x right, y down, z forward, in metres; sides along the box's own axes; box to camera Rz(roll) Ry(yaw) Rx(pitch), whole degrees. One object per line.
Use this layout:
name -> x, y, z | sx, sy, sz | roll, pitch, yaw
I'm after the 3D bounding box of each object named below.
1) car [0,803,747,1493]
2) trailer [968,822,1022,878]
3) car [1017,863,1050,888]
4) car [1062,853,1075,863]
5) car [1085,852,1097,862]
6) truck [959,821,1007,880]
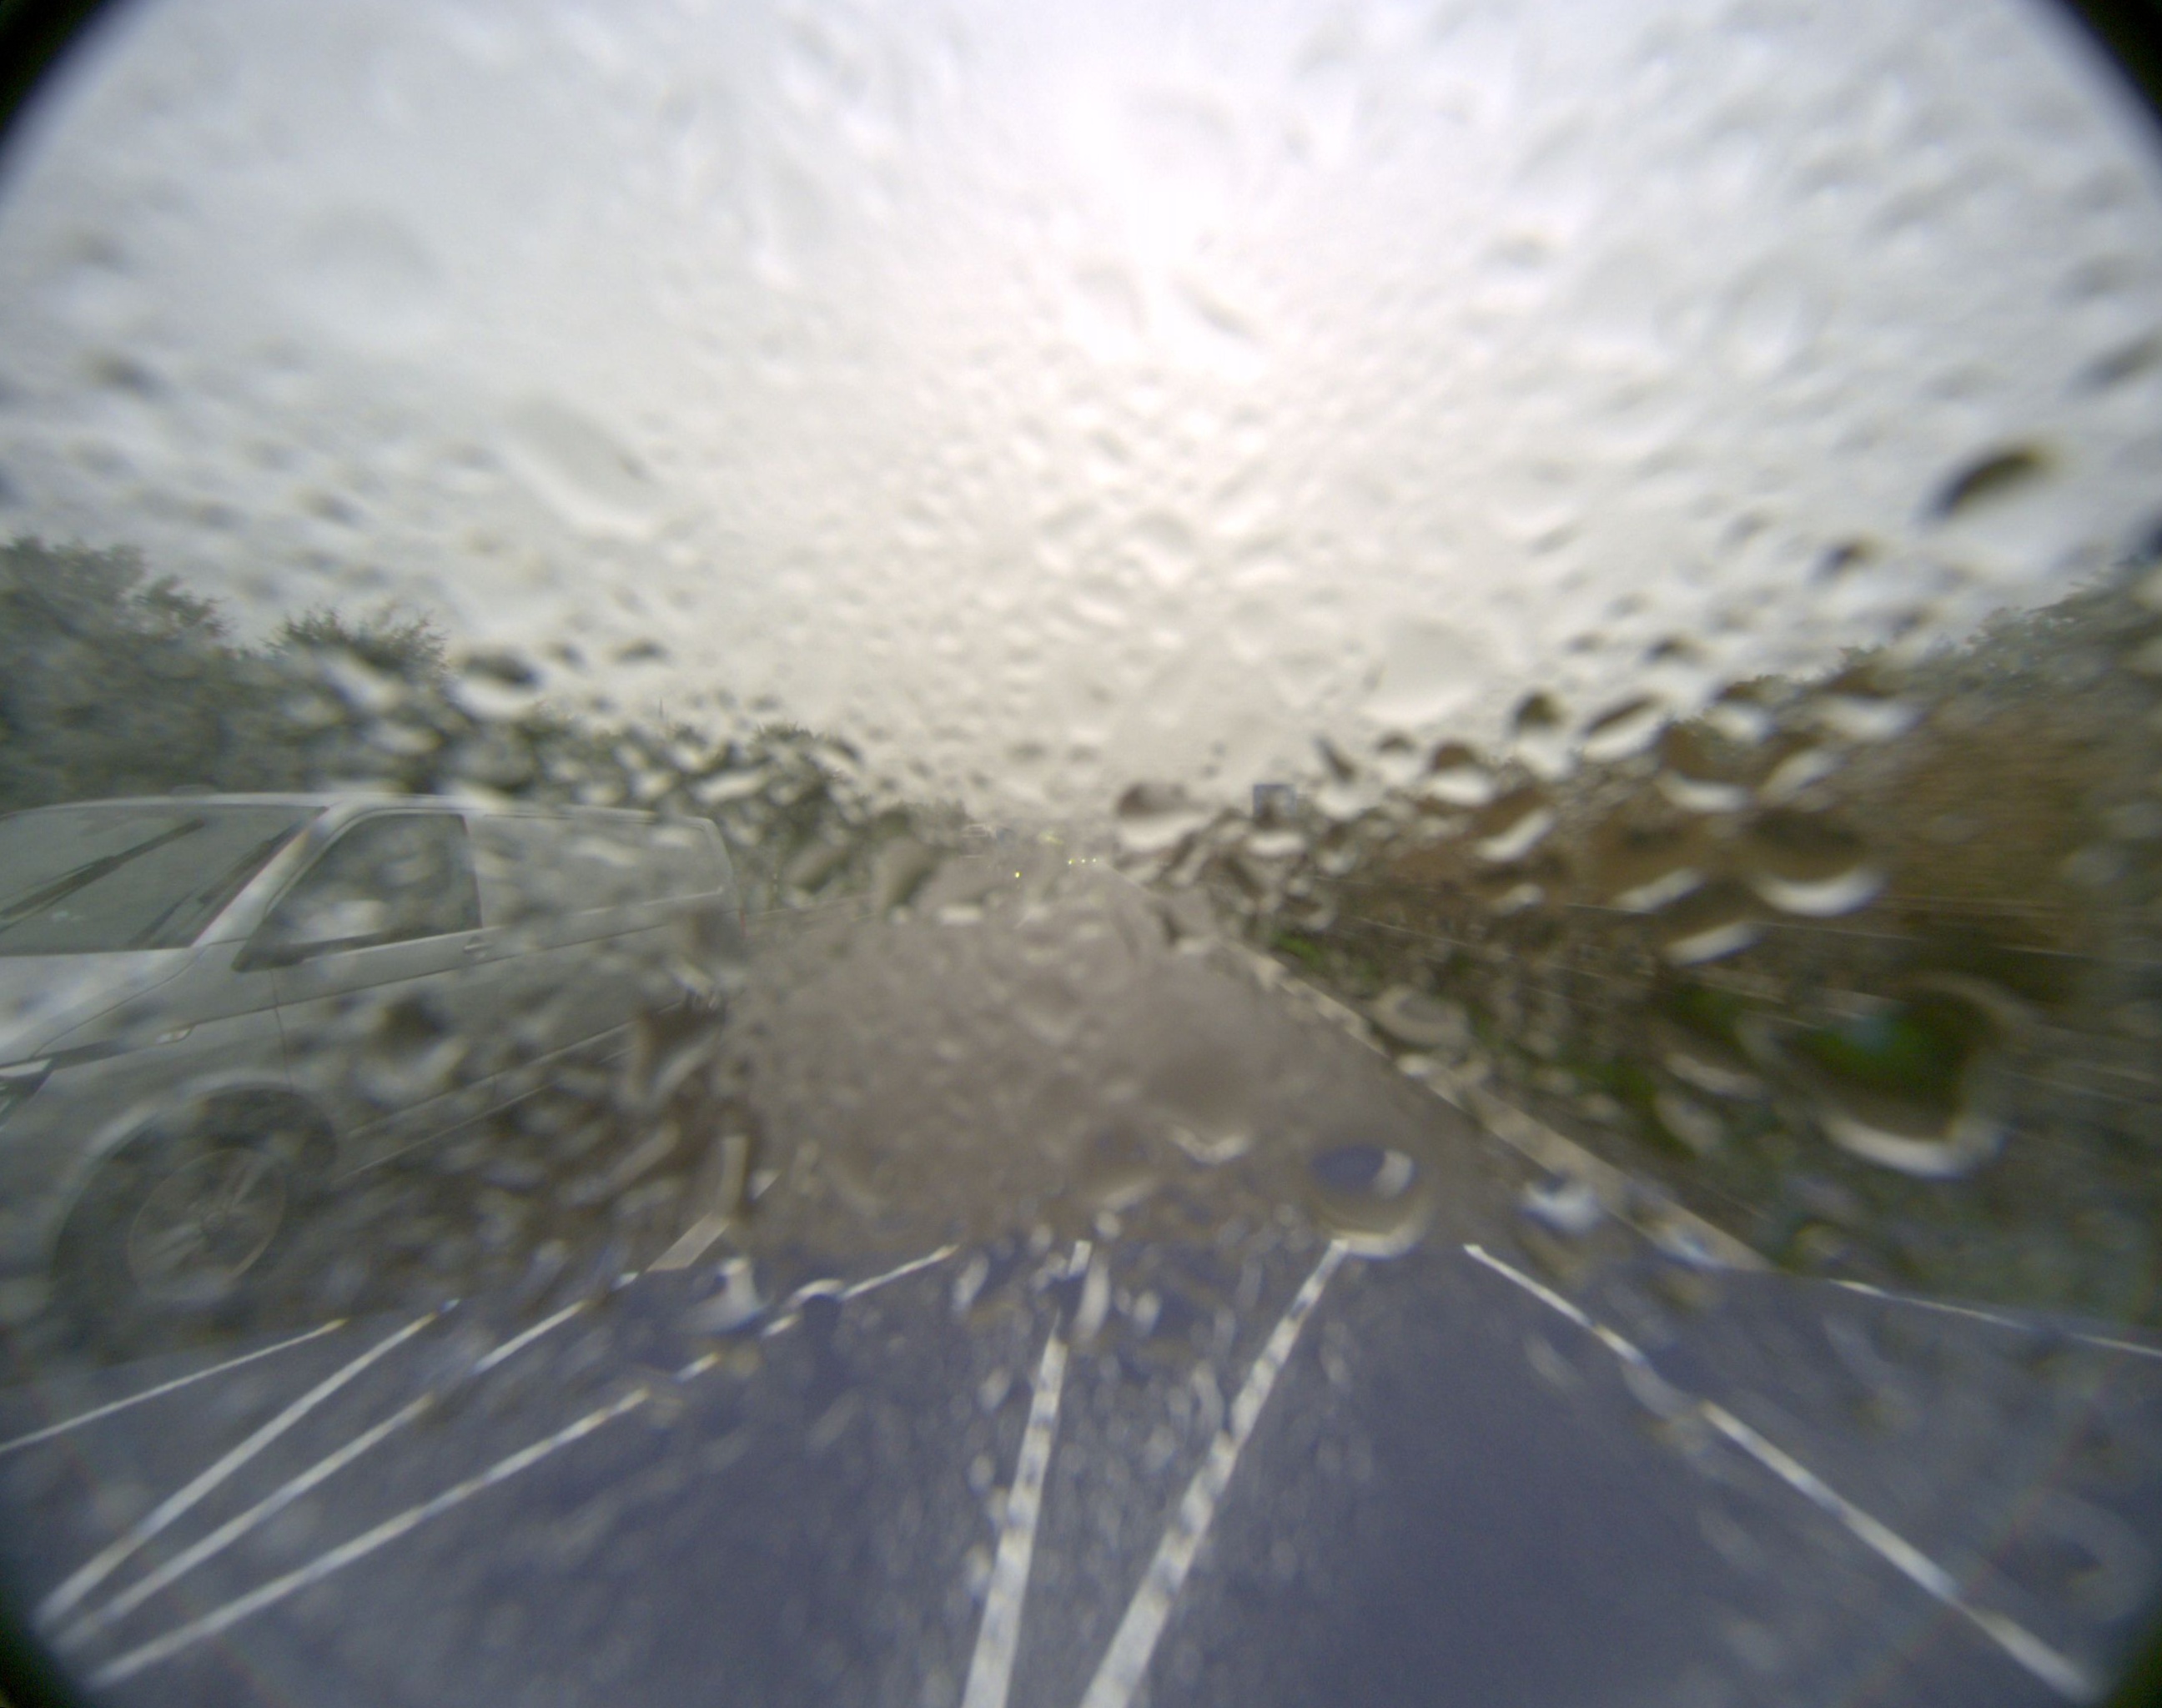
car -> -3.865, 0.800, 4.004 | 1.892, 1.873, 5.009 | -1, 0, 1
trailer -> -6.877, -0.312, 62.694 | 2.618, 4.064, 13.790 | -1, 0, 1
car -> -2.974, 1.334, 47.978 | 1.769, 1.448, 3.959 | -1, 0, 1
car -> -1.865, 0.562, 115.264 | 1.769, 1.448, 3.959 | -1, 0, 1
car -> 1.586, 0.511, 116.259 | 1.769, 1.448, 3.959 | -1, 0, 1
truck -> -7.017, -0.246, 55.096 | 2.618, 4.064, 5.238 | -1, 1, 1
